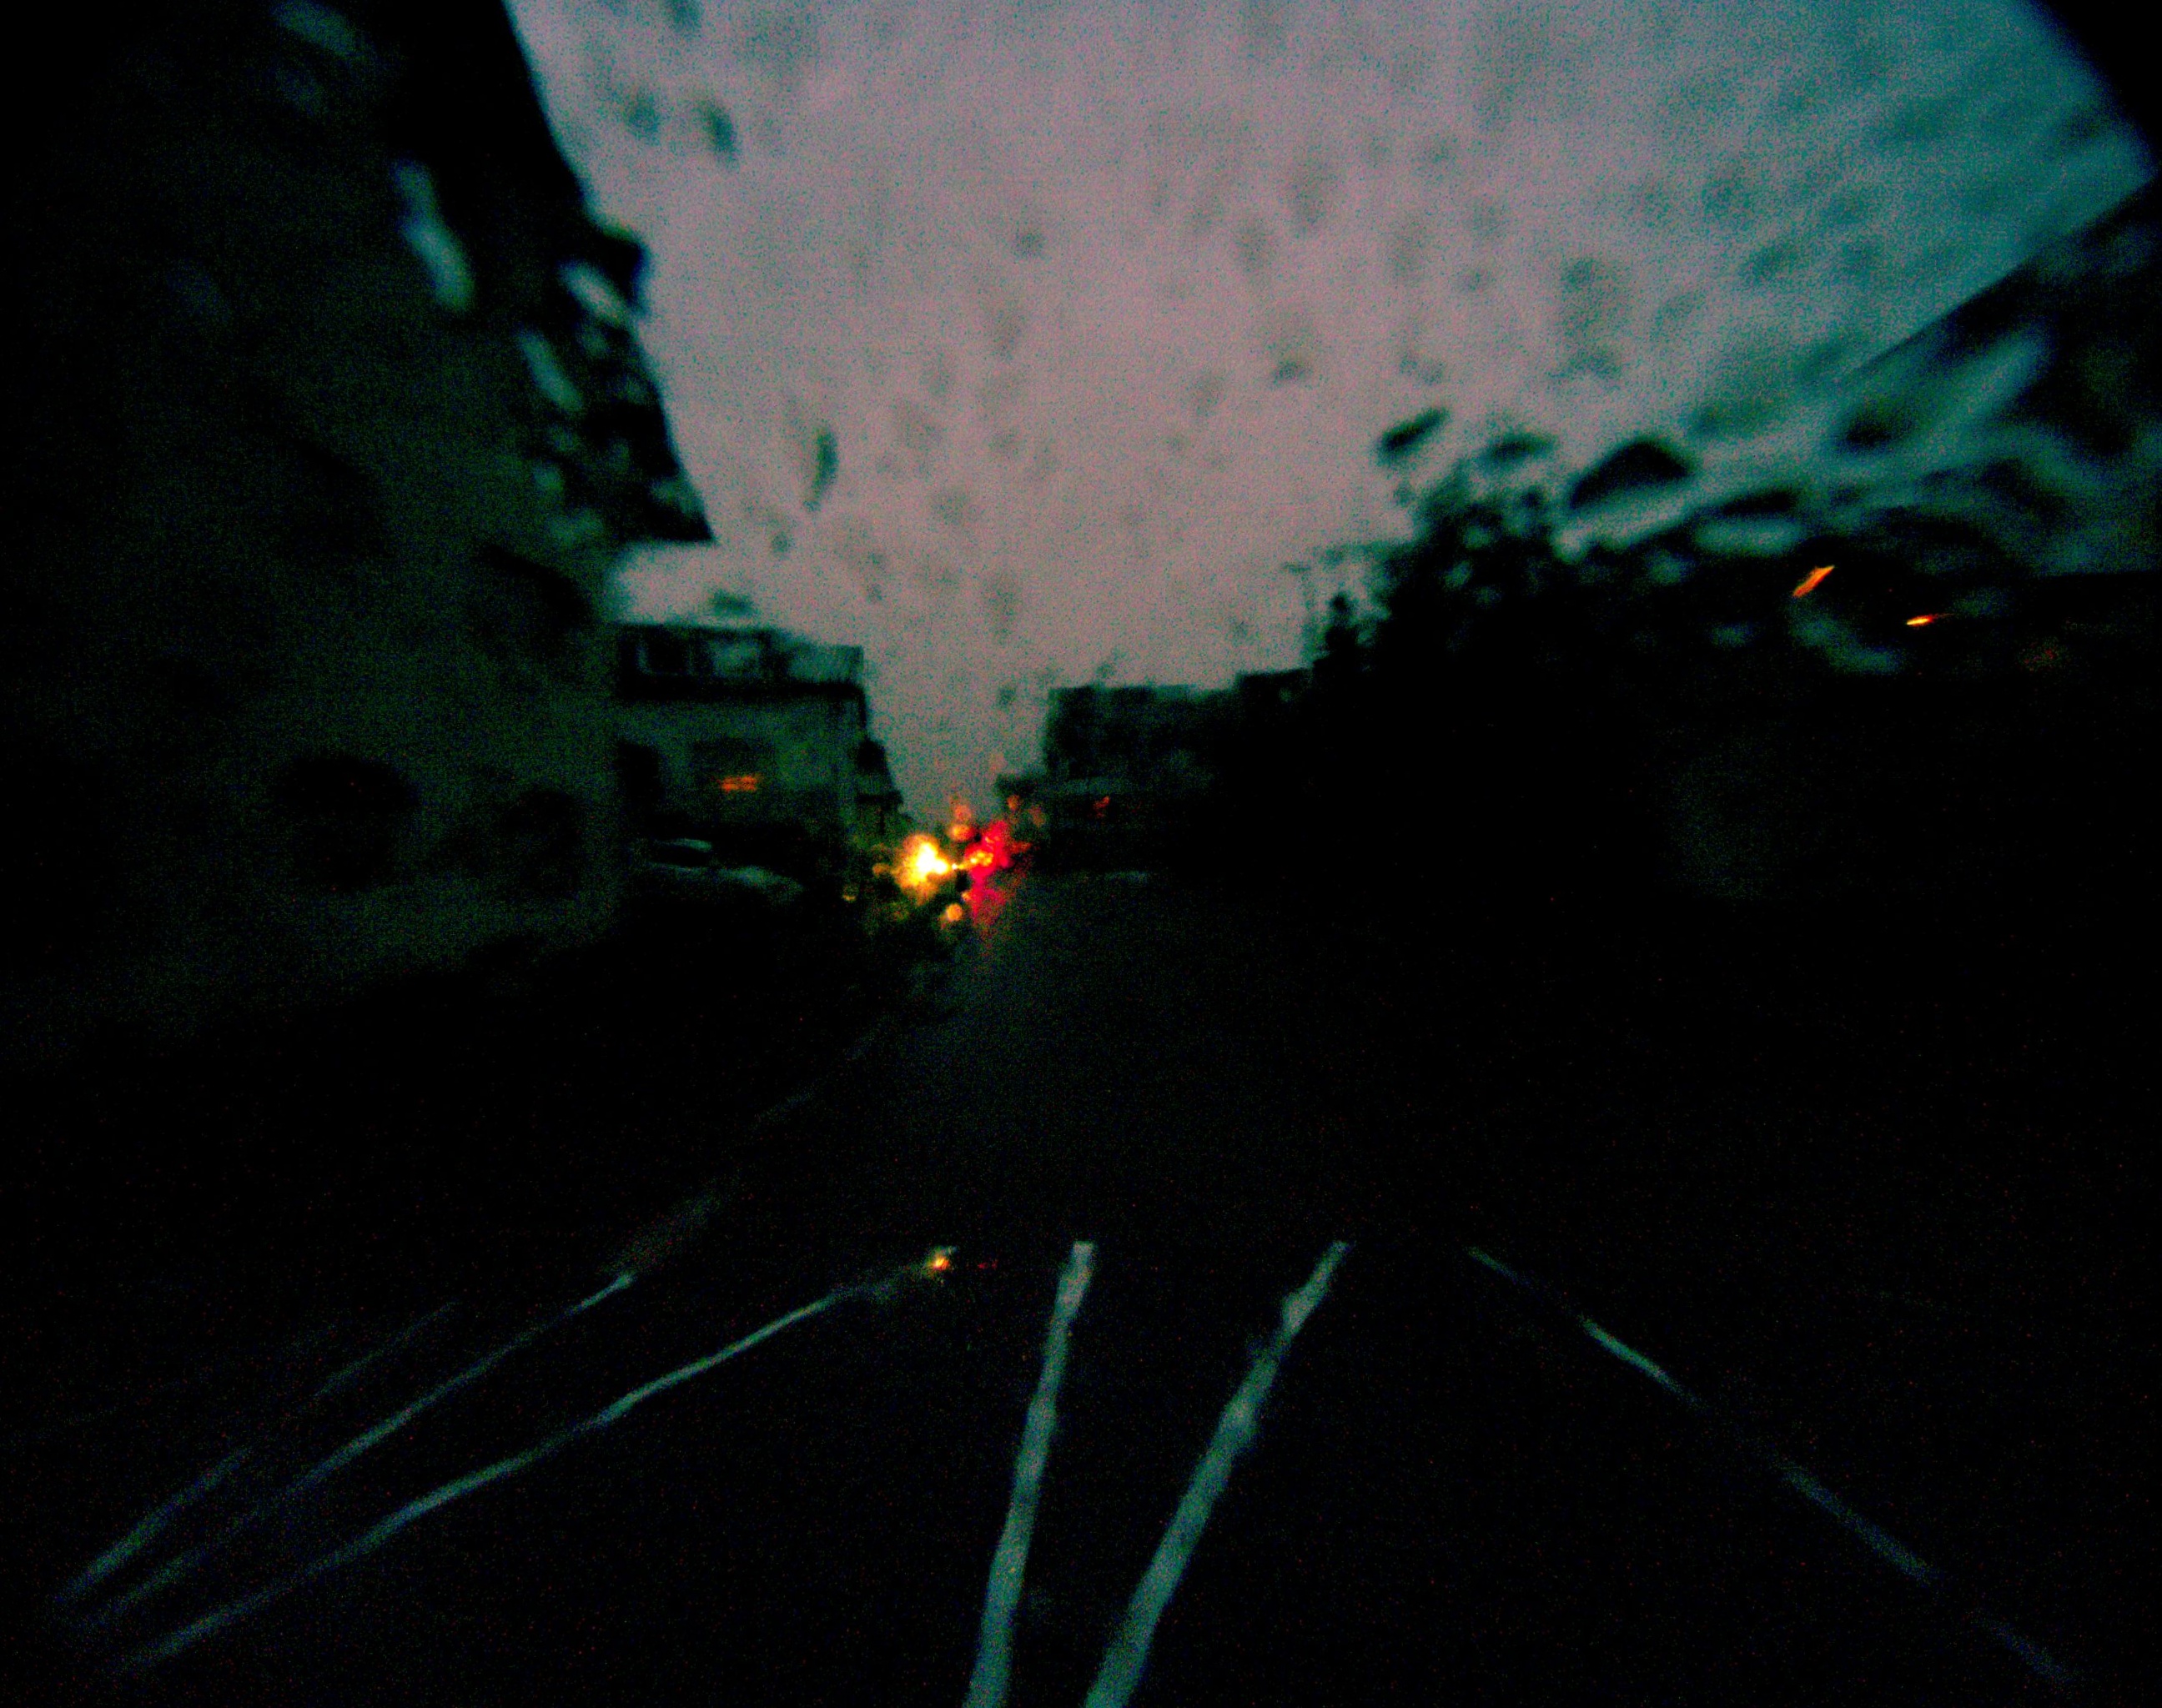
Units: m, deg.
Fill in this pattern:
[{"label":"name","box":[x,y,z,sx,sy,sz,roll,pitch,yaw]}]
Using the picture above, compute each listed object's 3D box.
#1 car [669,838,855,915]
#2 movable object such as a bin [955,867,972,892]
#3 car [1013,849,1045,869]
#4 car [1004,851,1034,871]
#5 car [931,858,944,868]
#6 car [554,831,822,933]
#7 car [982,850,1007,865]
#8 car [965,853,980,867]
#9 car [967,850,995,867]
[{"label":"car","box":[-7.953,0.562,19.315,4.003,1.448,1.688,7,-1,-13]},{"label":"movable object such as a bin","box":[-4.697,1.020,30.297,0.616,0.941,0.594,2,2,-8]},{"label":"car","box":[-3.803,0.380,55.148,1.674,1.401,3.909,-1,0,-14]},{"label":"car","box":[-4.890,0.521,59.227,1.671,1.409,3.686,-3,1,-15]},{"label":"car","box":[-20.528,1.268,109.035,1.758,1.486,4.246,0,0,-10]},{"label":"car","box":[-7.684,0.532,15.256,4.294,1.448,1.777,7,0,-9]},{"label":"car","box":[-8.633,0.399,75.601,1.740,1.435,4.433,-1,0,-15]},{"label":"car","box":[-14.510,0.817,101.713,1.777,1.781,4.125,0,-1,-11]},{"label":"car","box":[-9.104,0.404,69.026,1.781,1.486,4.373,0,0,-17]}]
